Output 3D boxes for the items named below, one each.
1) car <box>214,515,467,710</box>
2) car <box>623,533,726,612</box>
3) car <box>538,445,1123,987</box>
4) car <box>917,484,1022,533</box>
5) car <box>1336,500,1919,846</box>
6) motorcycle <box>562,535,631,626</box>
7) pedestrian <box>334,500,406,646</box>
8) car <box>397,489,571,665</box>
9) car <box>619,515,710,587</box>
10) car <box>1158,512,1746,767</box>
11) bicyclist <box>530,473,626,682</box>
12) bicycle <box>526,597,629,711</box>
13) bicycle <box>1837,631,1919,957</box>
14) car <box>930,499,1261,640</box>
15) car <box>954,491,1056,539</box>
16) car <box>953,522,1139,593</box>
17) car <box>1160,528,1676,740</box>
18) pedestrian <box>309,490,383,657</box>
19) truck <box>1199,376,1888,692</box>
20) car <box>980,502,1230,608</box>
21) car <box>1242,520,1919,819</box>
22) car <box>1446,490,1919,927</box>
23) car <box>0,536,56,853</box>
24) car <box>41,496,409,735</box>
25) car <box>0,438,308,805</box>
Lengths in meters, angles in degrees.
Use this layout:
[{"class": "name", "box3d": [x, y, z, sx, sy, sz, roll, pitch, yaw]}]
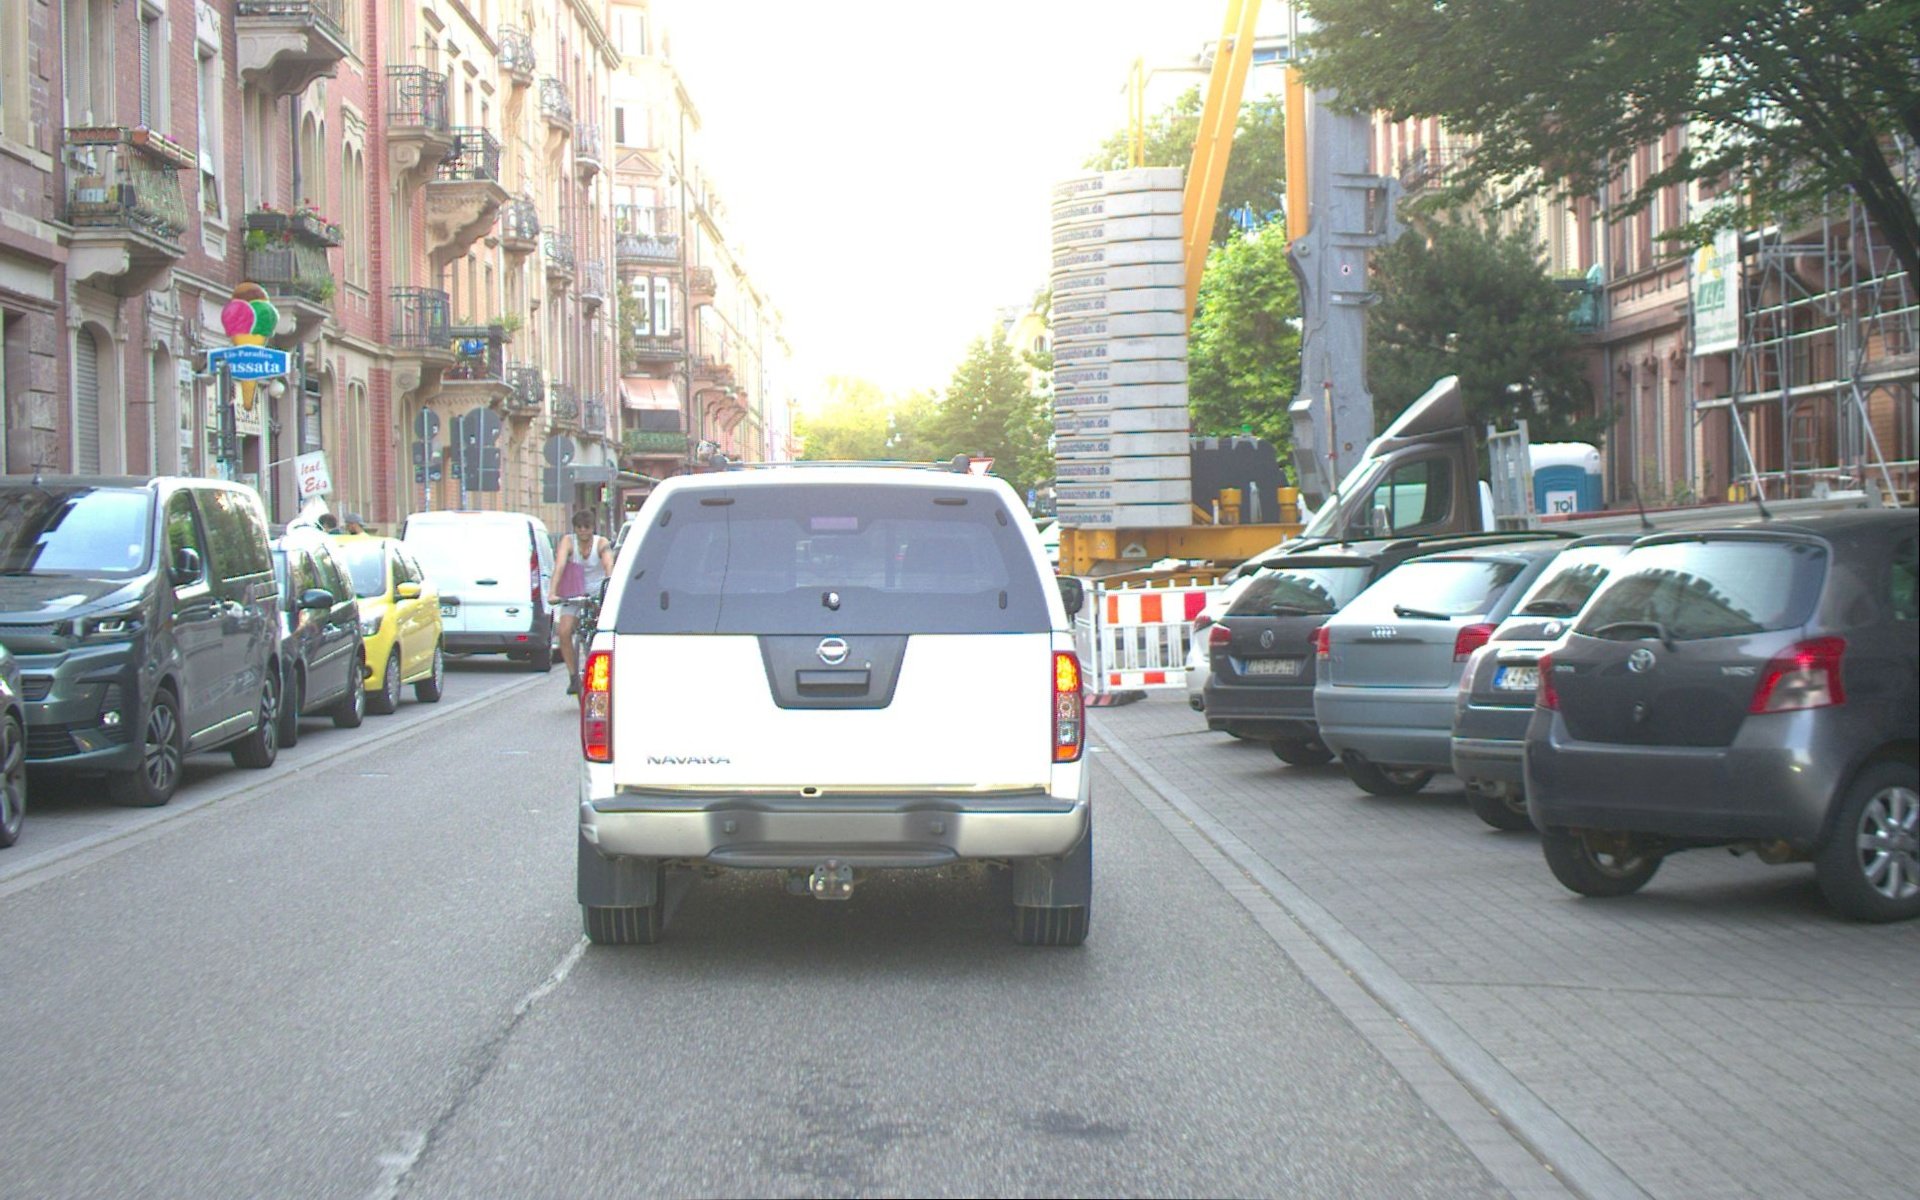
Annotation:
[{"class": "car", "box3d": [-5.419, 0.062, 30.480, 1.499, 1.588, 3.856, -1, 1, 0]}, {"class": "car", "box3d": [-5.726, -0.581, 69.407, 1.791, 1.525, 4.000, 0, 1, -1]}, {"class": "car", "box3d": [-0.430, 0.337, 13.776, 1.933, 1.788, 4.622, 1, 1, 0]}, {"class": "car", "box3d": [0.421, -4.039, 152.208, 4.588, 2.170, 1.819, 0, 1, 2]}, {"class": "car", "box3d": [4.037, 0.289, 17.499, 3.824, 1.525, 1.763, -3, 1, -26]}, {"class": "motorcycle", "box3d": [-5.799, -0.335, 54.938, 0.837, 1.411, 2.549, 0, 1, 0]}, {"class": "pedestrian", "box3d": [-7.601, -0.352, 44.283, 0.617, 1.863, 0.739, 0, 1, 22]}, {"class": "car", "box3d": [-5.495, -0.294, 40.026, 1.559, 1.914, 3.857, 1, 1, -2]}, {"class": "car", "box3d": [-6.418, -1.090, 74.993, 1.710, 1.525, 4.000, 0, 1, -1]}, {"class": "car", "box3d": [3.261, 0.194, 22.428, 3.882, 1.525, 1.637, -1, 2, -40]}, {"class": "bicyclist", "box3d": [-3.407, -0.210, 30.729, 0.800, 1.843, 0.944, 0, 1, -3]}, {"class": "bicycle", "box3d": [-3.401, 0.465, 30.698, 0.800, 0.944, 2.005, 0, 1, -3]}, {"class": "bicycle", "box3d": [3.837, 0.654, 11.389, 0.692, 1.104, 1.858, -1, 0, -30]}, {"class": "car", "box3d": [1.788, -0.406, 44.574, 4.196, 1.774, 1.819, 0, 1, 5]}, {"class": "car", "box3d": [2.056, -3.845, 156.005, 4.588, 2.170, 1.819, 0, 1, 2]}, {"class": "car", "box3d": [1.959, -0.977, 78.343, 4.195, 1.616, 1.819, 0, 1, 2]}, {"class": "car", "box3d": [3.385, 0.199, 25.285, 3.548, 1.459, 1.611, -1, 1, -32]}, {"class": "pedestrian", "box3d": [-6.900, -0.305, 38.641, 0.738, 1.863, 0.618, 0, 1, -2]}, {"class": "truck", "box3d": [5.560, -0.594, 33.466, 6.320, 2.966, 2.264, 0, -2, 1]}, {"class": "car", "box3d": [2.458, -0.771, 58.656, 4.195, 1.774, 1.819, 0, 1, 2]}, {"class": "car", "box3d": [3.671, 0.327, 19.720, 3.825, 1.432, 1.762, -3, 2, -35]}, {"class": "car", "box3d": [3.855, 0.321, 13.781, 3.396, 1.469, 1.775, -3, 3, -32]}, {"class": "car", "box3d": [-5.376, 0.463, 14.722, 1.911, 1.467, 4.534, 0, 1, -1]}, {"class": "car", "box3d": [-5.527, 0.068, 26.361, 1.905, 1.657, 4.068, -1, 1, 0]}, {"class": "car", "box3d": [-5.275, 0.059, 20.429, 1.904, 1.919, 4.947, 0, 1, -1]}]
